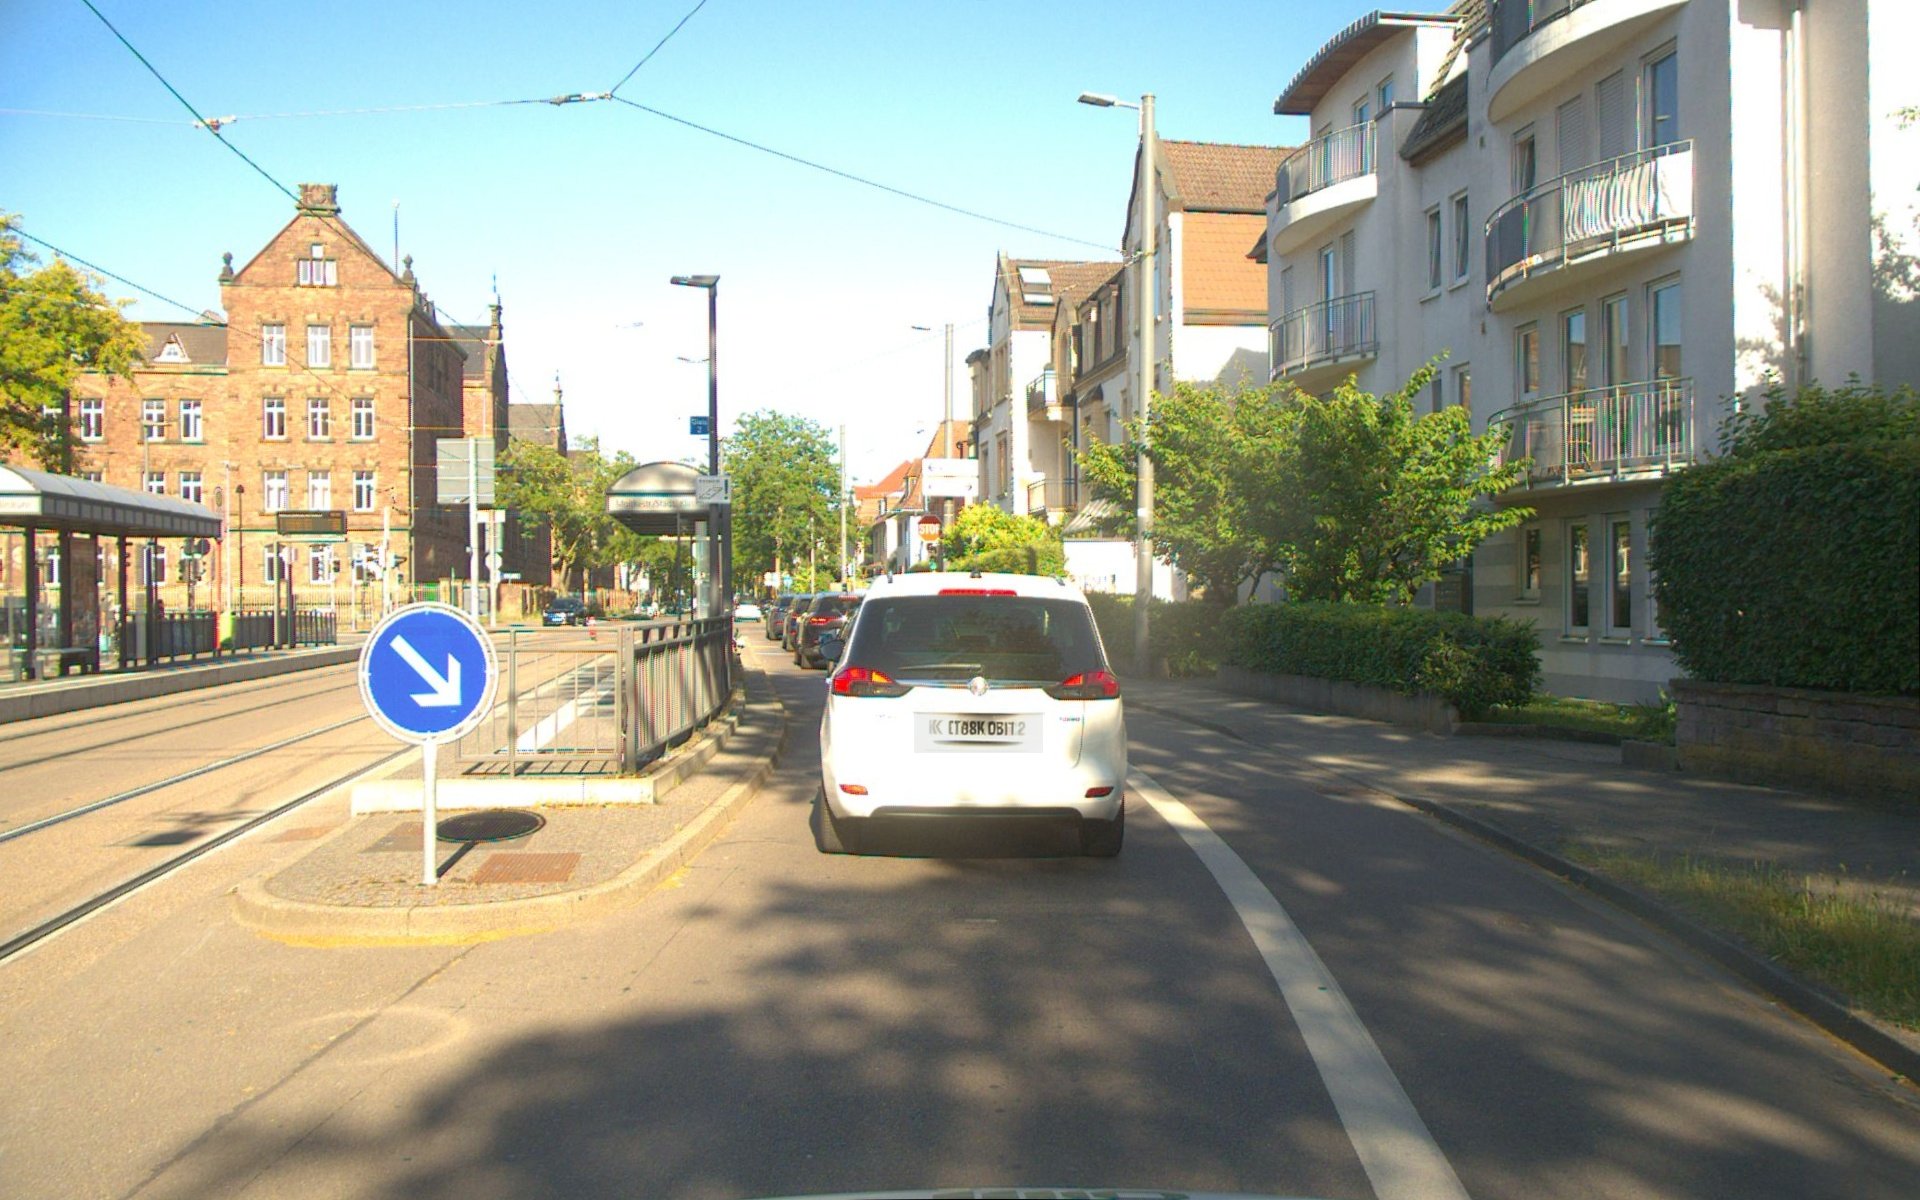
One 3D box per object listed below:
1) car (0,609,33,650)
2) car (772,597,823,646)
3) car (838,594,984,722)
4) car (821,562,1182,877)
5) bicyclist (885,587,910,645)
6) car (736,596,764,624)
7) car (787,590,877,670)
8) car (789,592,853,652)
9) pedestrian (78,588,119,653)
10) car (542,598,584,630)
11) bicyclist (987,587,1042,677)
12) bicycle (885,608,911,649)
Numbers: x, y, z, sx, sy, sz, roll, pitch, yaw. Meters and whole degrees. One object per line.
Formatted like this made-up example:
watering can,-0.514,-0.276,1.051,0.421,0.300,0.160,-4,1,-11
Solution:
car,-38.196,1.114,63.635,3.986,1.548,1.875,0,-1,-6
car,-5.729,0.751,58.320,1.741,1.660,3.875,0,0,-6
car,-0.706,0.653,21.026,1.556,1.445,3.895,-1,0,-6
car,0.072,0.648,10.839,1.800,1.671,3.912,0,0,-7
bicyclist,-1.813,0.451,47.804,0.672,1.663,1.014,0,-1,-6
car,-13.430,0.654,105.898,1.742,1.722,3.875,0,0,-6
car,-2.851,0.635,36.156,1.742,1.660,3.873,0,0,-8
car,-3.979,0.621,47.611,1.741,1.660,3.877,0,0,-4
pedestrian,-25.693,0.606,49.340,0.712,1.893,1.095,0,-1,-6
car,-21.863,0.727,91.208,1.871,1.706,4.350,0,0,-8
bicyclist,0.941,0.552,28.684,0.806,1.528,0.932,0,-1,-9
bicycle,-1.800,0.818,47.718,0.672,1.177,1.617,0,0,-6
